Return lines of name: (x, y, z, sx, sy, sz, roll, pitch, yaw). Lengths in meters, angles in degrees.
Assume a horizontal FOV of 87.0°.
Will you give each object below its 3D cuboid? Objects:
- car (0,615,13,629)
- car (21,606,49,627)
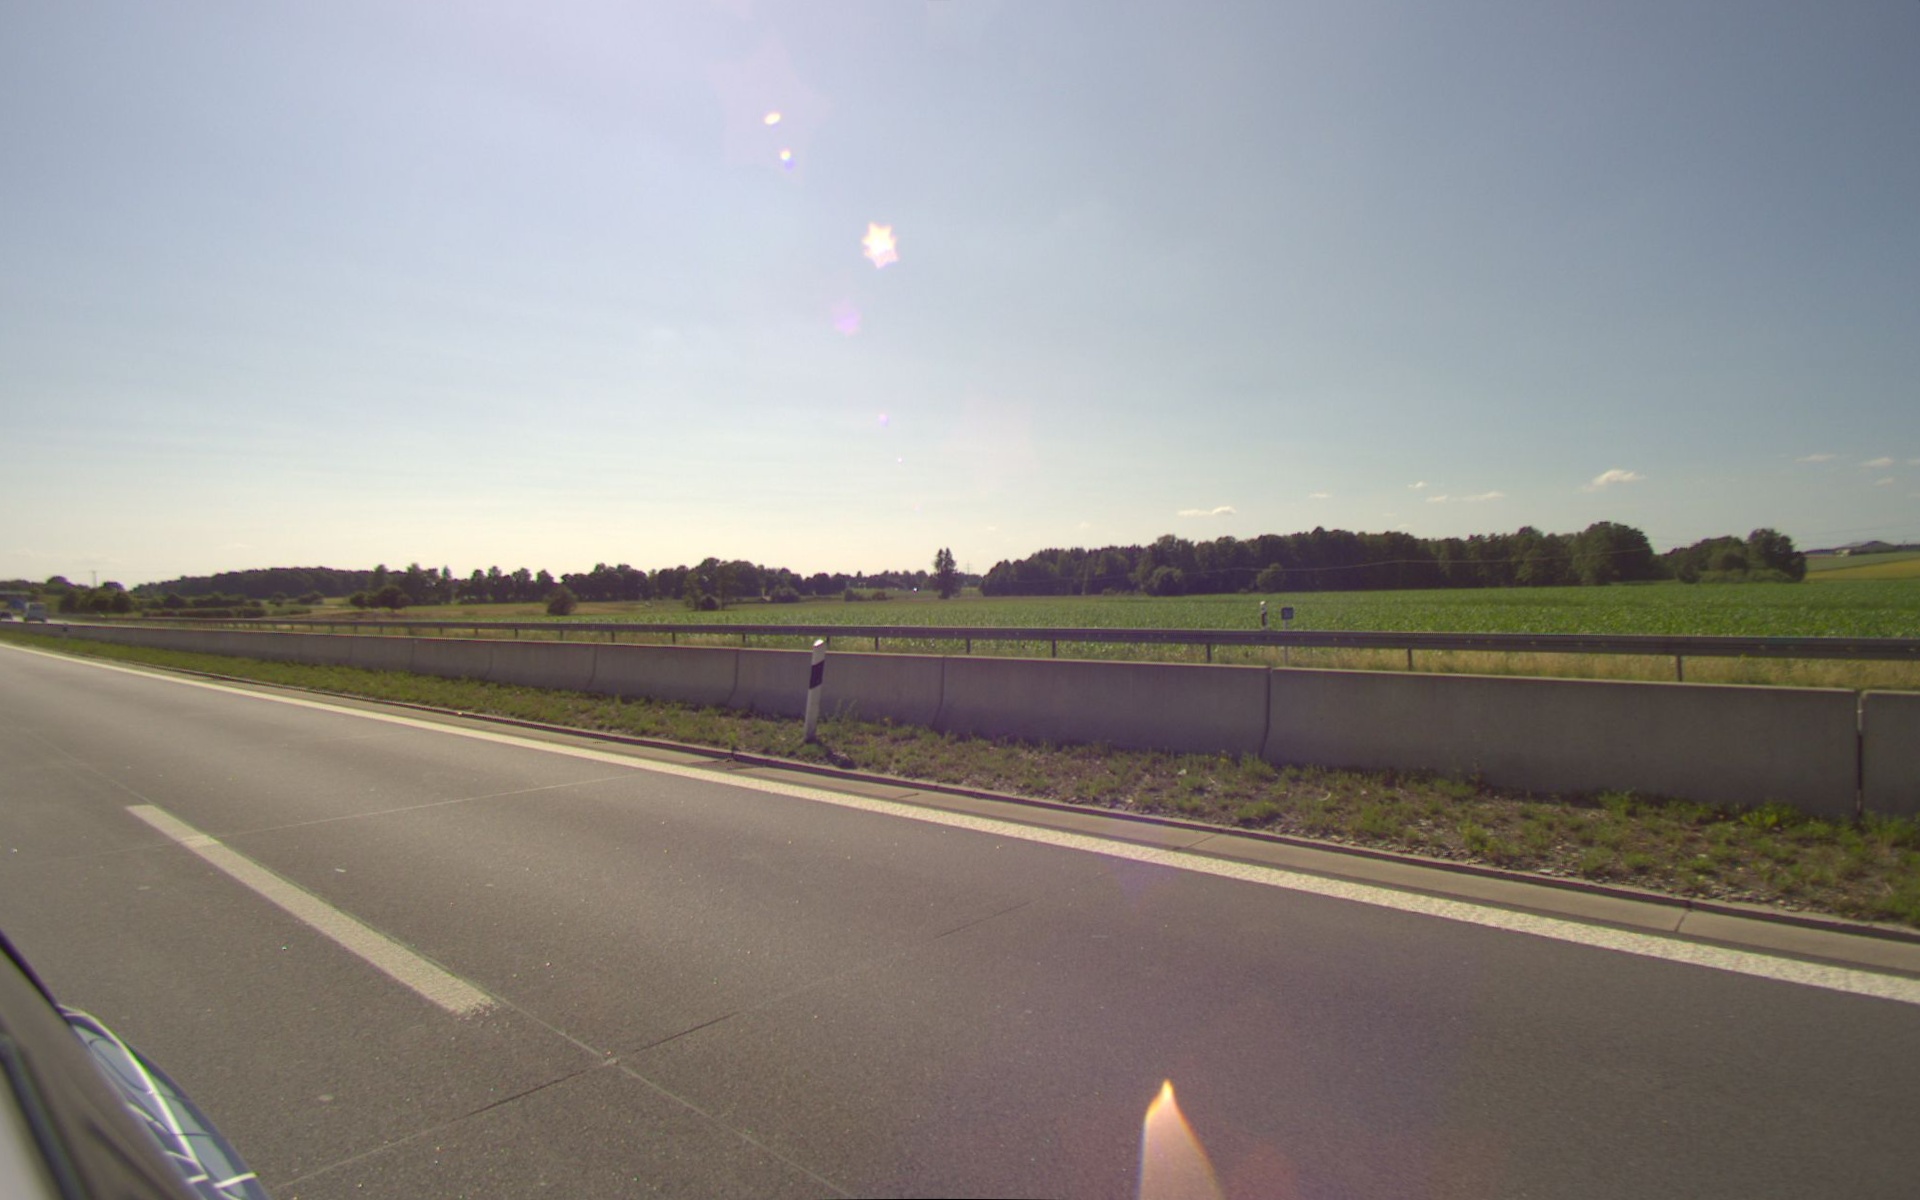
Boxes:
car: (-157.816, 3.575, 166.632, 5.455, 2.261, 2.360, -2, -2, 44)
car: (-117.623, 2.159, 128.608, 5.456, 2.578, 2.359, -2, -2, 45)
